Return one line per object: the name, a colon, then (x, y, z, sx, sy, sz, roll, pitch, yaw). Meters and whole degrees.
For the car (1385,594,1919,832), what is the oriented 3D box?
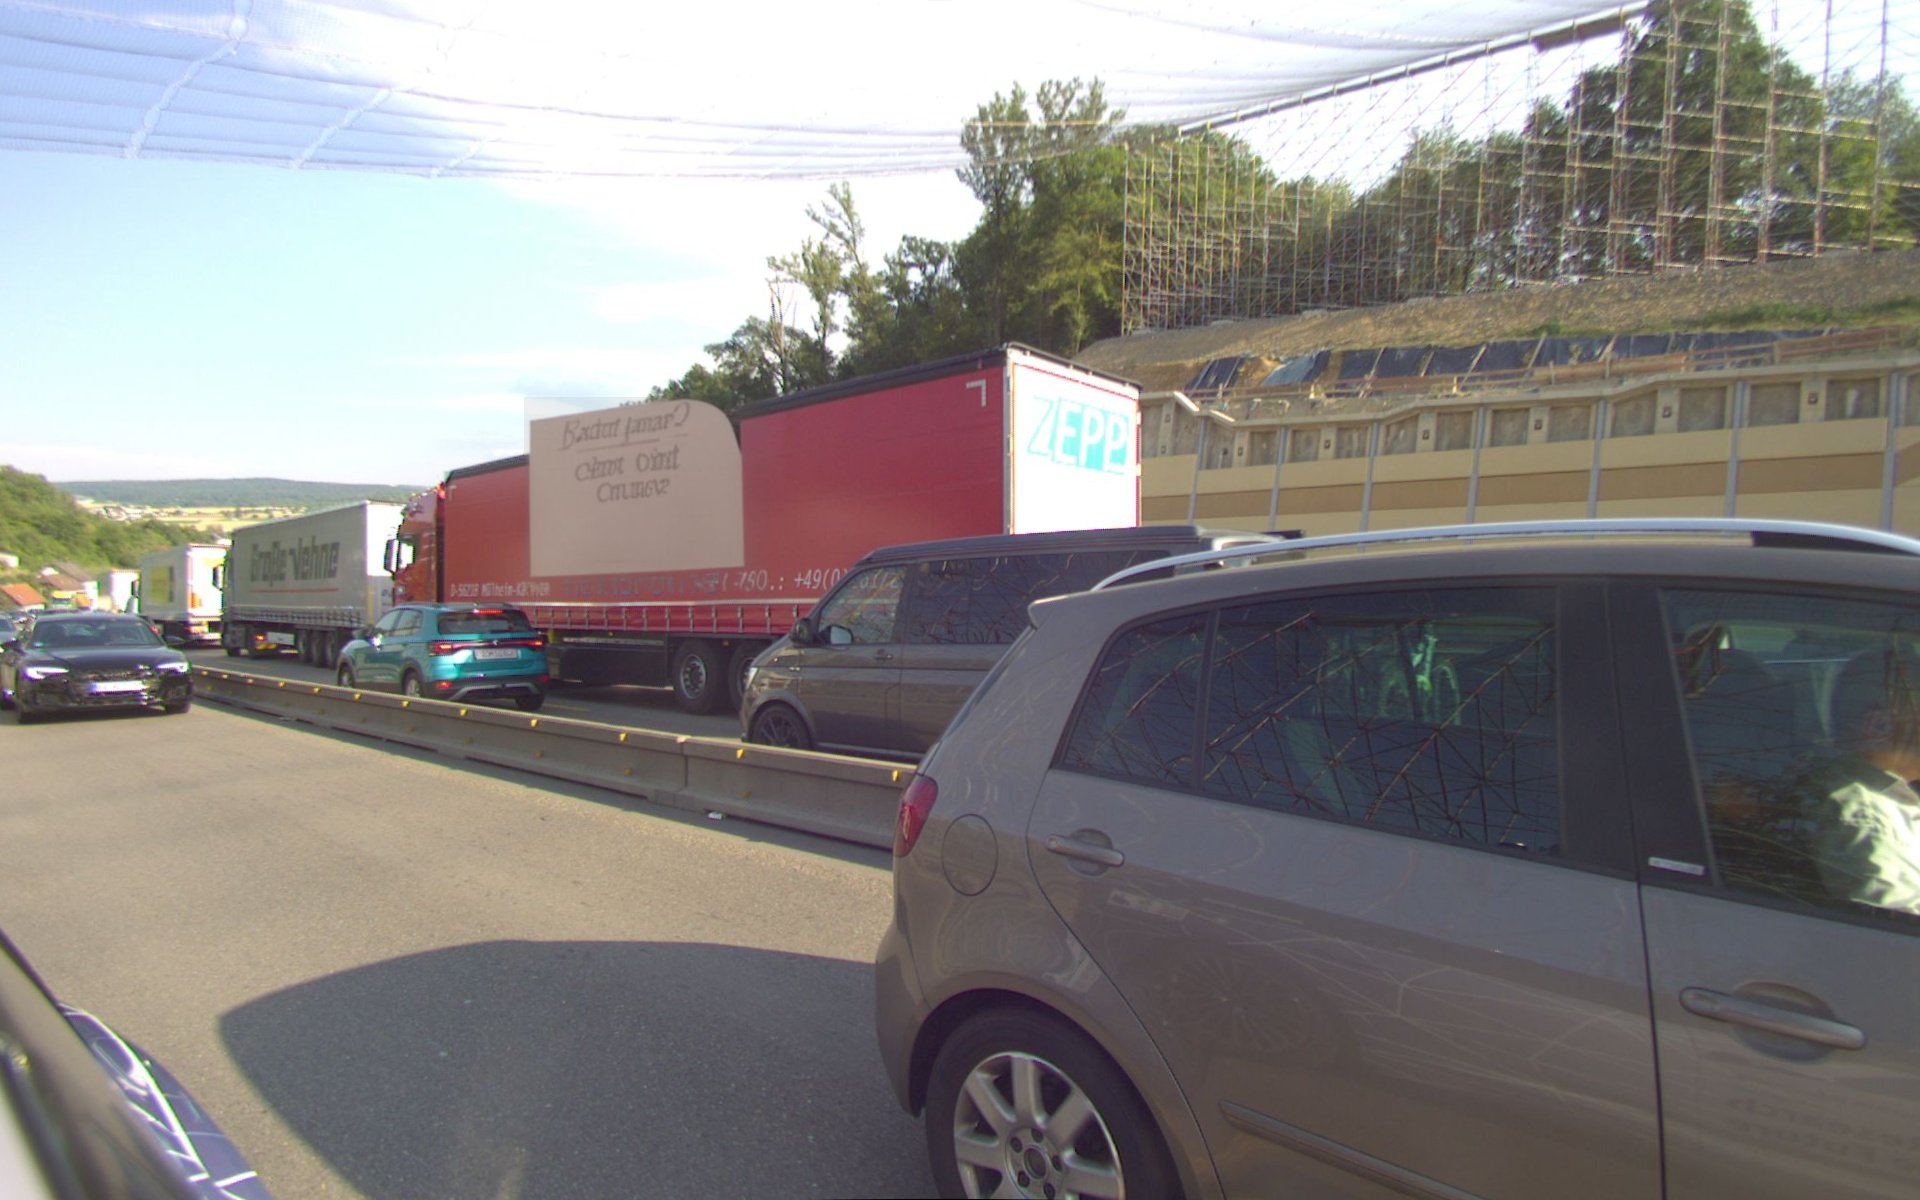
car: (5.642, 0.710, 7.673, 4.137, 1.458, 1.703, -1, 0, 42)

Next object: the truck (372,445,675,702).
truck: (-8.623, -0.407, 19.614, 6.675, 4.172, 2.759, 0, -1, 41)

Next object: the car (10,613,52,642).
car: (-56.224, 1.650, 61.226, 1.732, 1.670, 4.866, 1, -1, -44)

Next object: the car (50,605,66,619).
car: (-144.537, 1.920, 162.223, 1.794, 2.015, 4.762, 3, -3, -41)

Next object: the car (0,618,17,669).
car: (-28.578, 1.278, 29.315, 4.002, 1.409, 1.675, -2, 0, 45)

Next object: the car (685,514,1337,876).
car: (0.106, 0.532, 7.748, 4.858, 1.949, 1.855, -1, 0, 41)

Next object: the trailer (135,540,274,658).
trailer: (-32.469, 0.007, 43.142, 13.887, 4.366, 2.734, 0, -1, 45)

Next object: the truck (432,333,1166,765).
truck: (-3.691, -0.453, 15.337, 13.799, 4.172, 2.758, 0, -1, 41)

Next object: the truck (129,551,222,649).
truck: (-36.891, 0.023, 47.535, 5.936, 4.332, 2.714, -1, -1, 45)

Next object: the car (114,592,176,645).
car: (-45.793, 1.083, 56.793, 1.998, 2.710, 6.953, -2, -1, -44)

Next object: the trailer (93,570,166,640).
trailer: (-54.799, 0.348, 66.617, 2.689, 4.250, 13.761, 0, -1, -43)

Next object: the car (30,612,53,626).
car: (-104.964, 2.185, 115.658, 1.794, 1.591, 4.762, 3, -3, -41)

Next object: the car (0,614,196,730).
car: (-12.613, 0.930, 14.664, 4.001, 1.409, 1.842, 0, -1, 44)

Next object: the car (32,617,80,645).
car: (-49.050, 1.646, 54.870, 1.711, 1.388, 4.894, -2, 1, -44)

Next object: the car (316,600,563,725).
car: (-7.674, 0.810, 14.749, 4.265, 1.546, 1.724, -1, 0, 41)

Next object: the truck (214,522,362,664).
truck: (-21.781, -0.190, 32.688, 5.935, 4.172, 2.756, -1, -1, 44)

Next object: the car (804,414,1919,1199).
car: (1.726, 0.579, 1.690, 4.097, 1.586, 1.666, 0, 0, 40)

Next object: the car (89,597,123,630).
car: (-79.492, 1.252, 94.281, 2.305, 2.940, 7.646, 1, -1, -39)

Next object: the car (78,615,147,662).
car: (-29.505, 1.283, 35.189, 1.631, 1.475, 4.405, -1, 0, -42)

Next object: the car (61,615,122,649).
car: (-39.684, 1.419, 46.203, 4.840, 1.450, 1.712, -1, 0, 44)

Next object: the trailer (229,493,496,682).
trailer: (-17.189, -0.230, 28.269, 13.969, 4.172, 2.768, 0, -1, 44)
